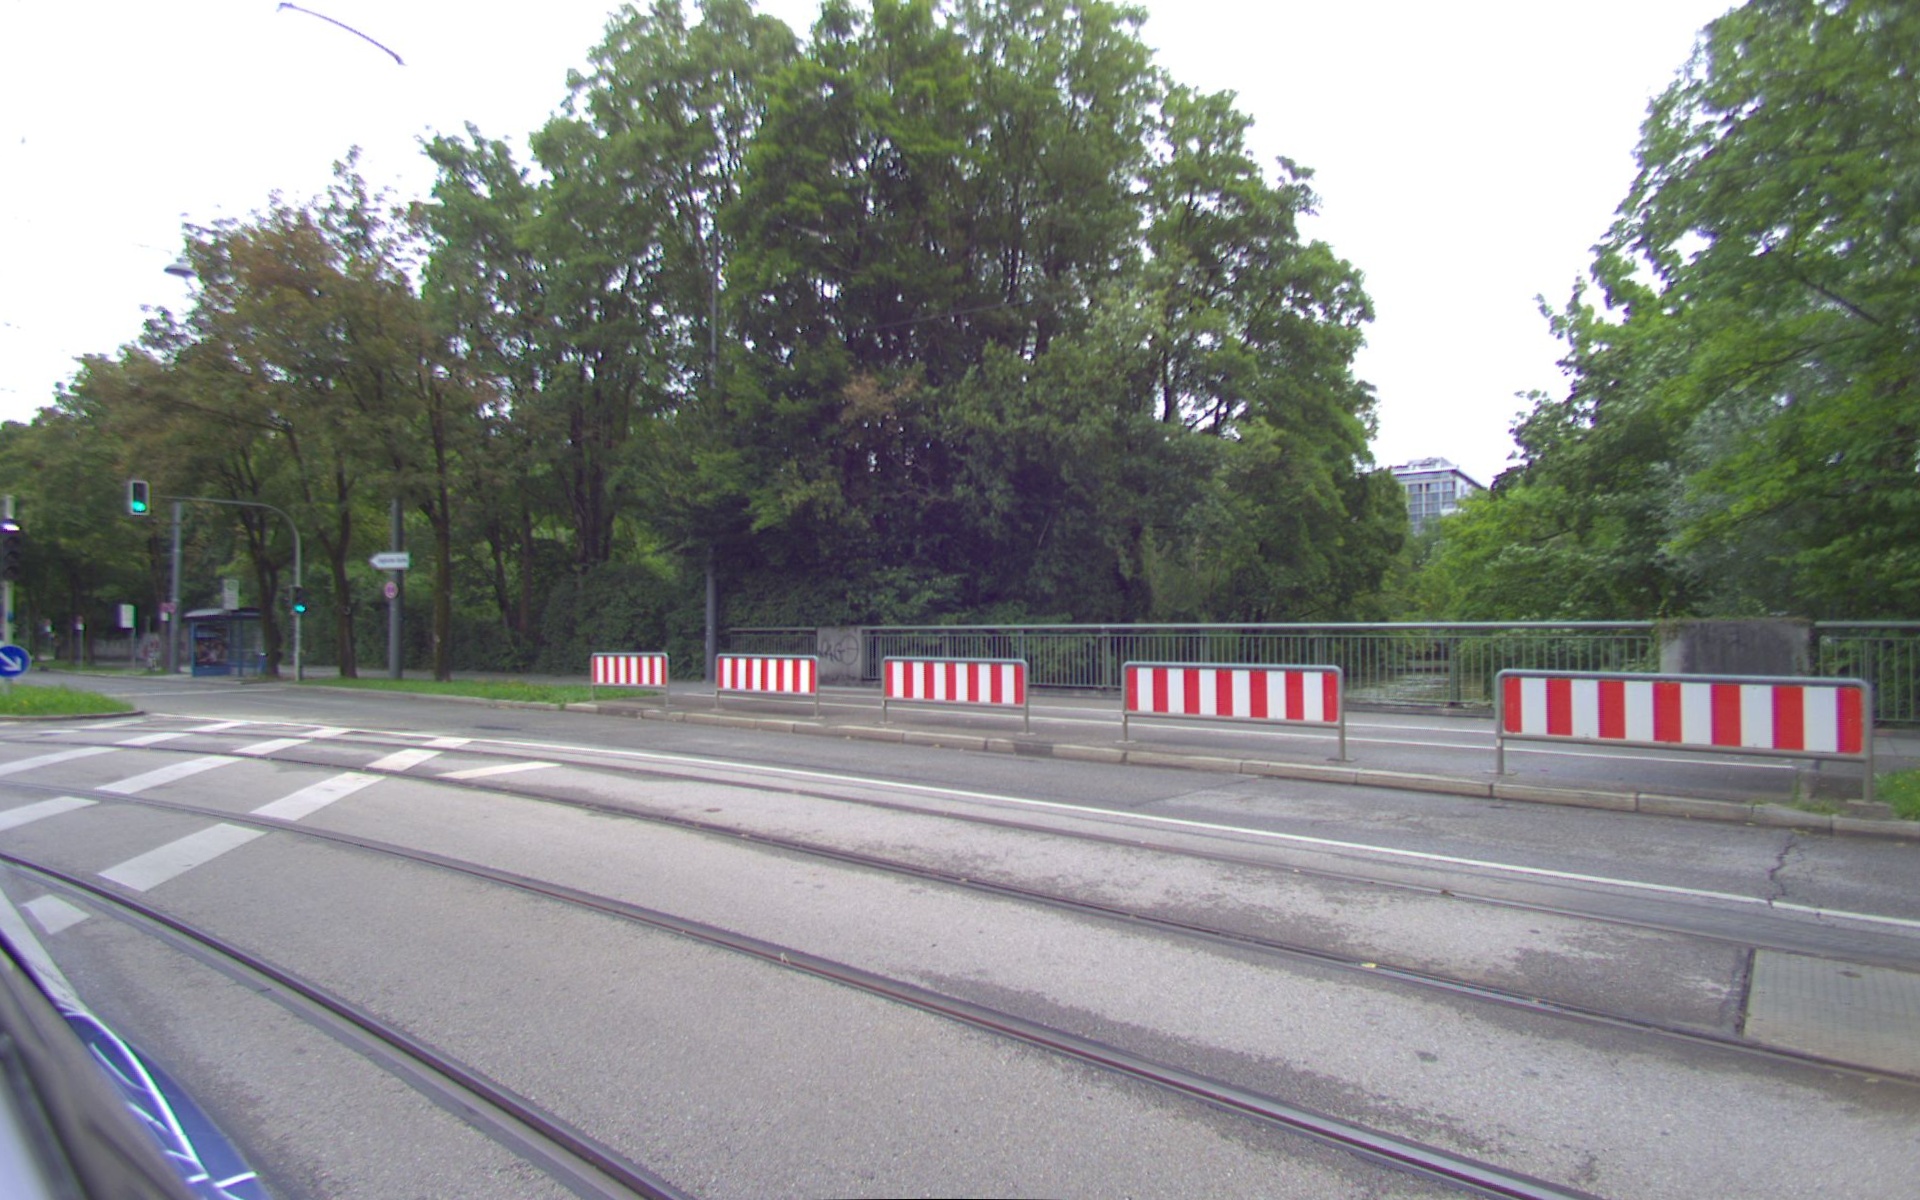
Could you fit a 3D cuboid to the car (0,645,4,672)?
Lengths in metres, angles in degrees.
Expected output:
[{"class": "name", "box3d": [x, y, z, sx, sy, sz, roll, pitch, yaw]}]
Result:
[{"class": "car", "box3d": [-64.727, 3.870, 66.832, 3.996, 1.739, 1.864, -1, 0, 40]}]

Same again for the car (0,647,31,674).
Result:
[{"class": "car", "box3d": [-60.166, 3.808, 63.757, 3.996, 1.552, 1.864, -3, -1, 40]}]
